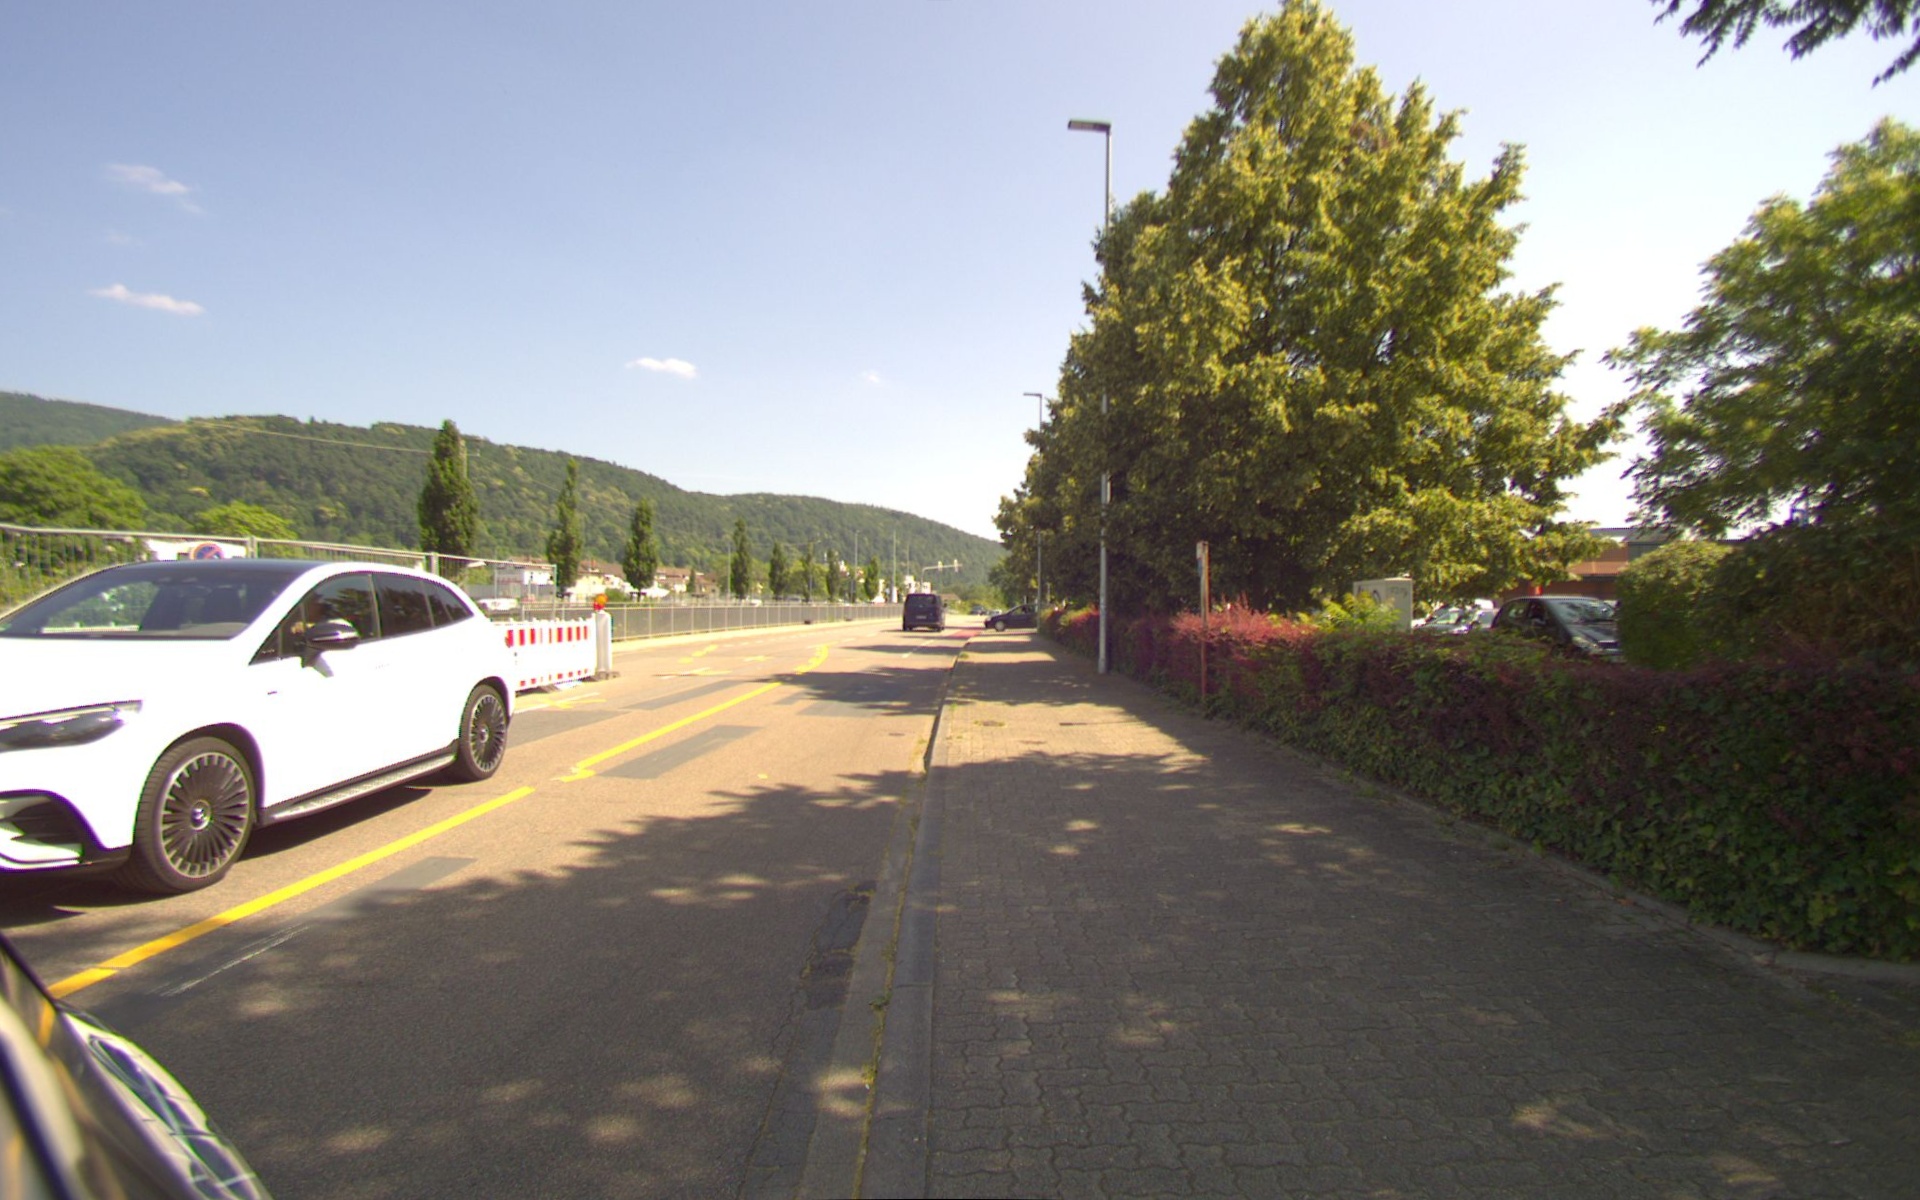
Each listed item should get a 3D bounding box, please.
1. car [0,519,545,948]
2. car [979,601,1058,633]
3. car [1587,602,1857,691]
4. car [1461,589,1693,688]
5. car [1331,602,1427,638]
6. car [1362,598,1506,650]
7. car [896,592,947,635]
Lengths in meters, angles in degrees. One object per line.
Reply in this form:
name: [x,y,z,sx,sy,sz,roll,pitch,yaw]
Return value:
car: [-4.623,0.523,6.429,1.972,1.657,5.032,0,0,-1]
car: [3.065,0.877,52.344,3.951,1.475,1.877,-2,0,6]
car: [14.548,0.815,19.709,1.836,1.464,4.368,2,0,-1]
car: [12.062,0.691,20.198,1.836,1.698,4.368,2,0,-1]
car: [18.982,0.892,46.030,1.888,1.564,4.154,0,0,-15]
car: [16.208,0.816,34.638,4.240,1.698,1.867,0,0,-15]
car: [-1.941,0.649,52.485,2.154,1.982,5.441,3,0,2]
